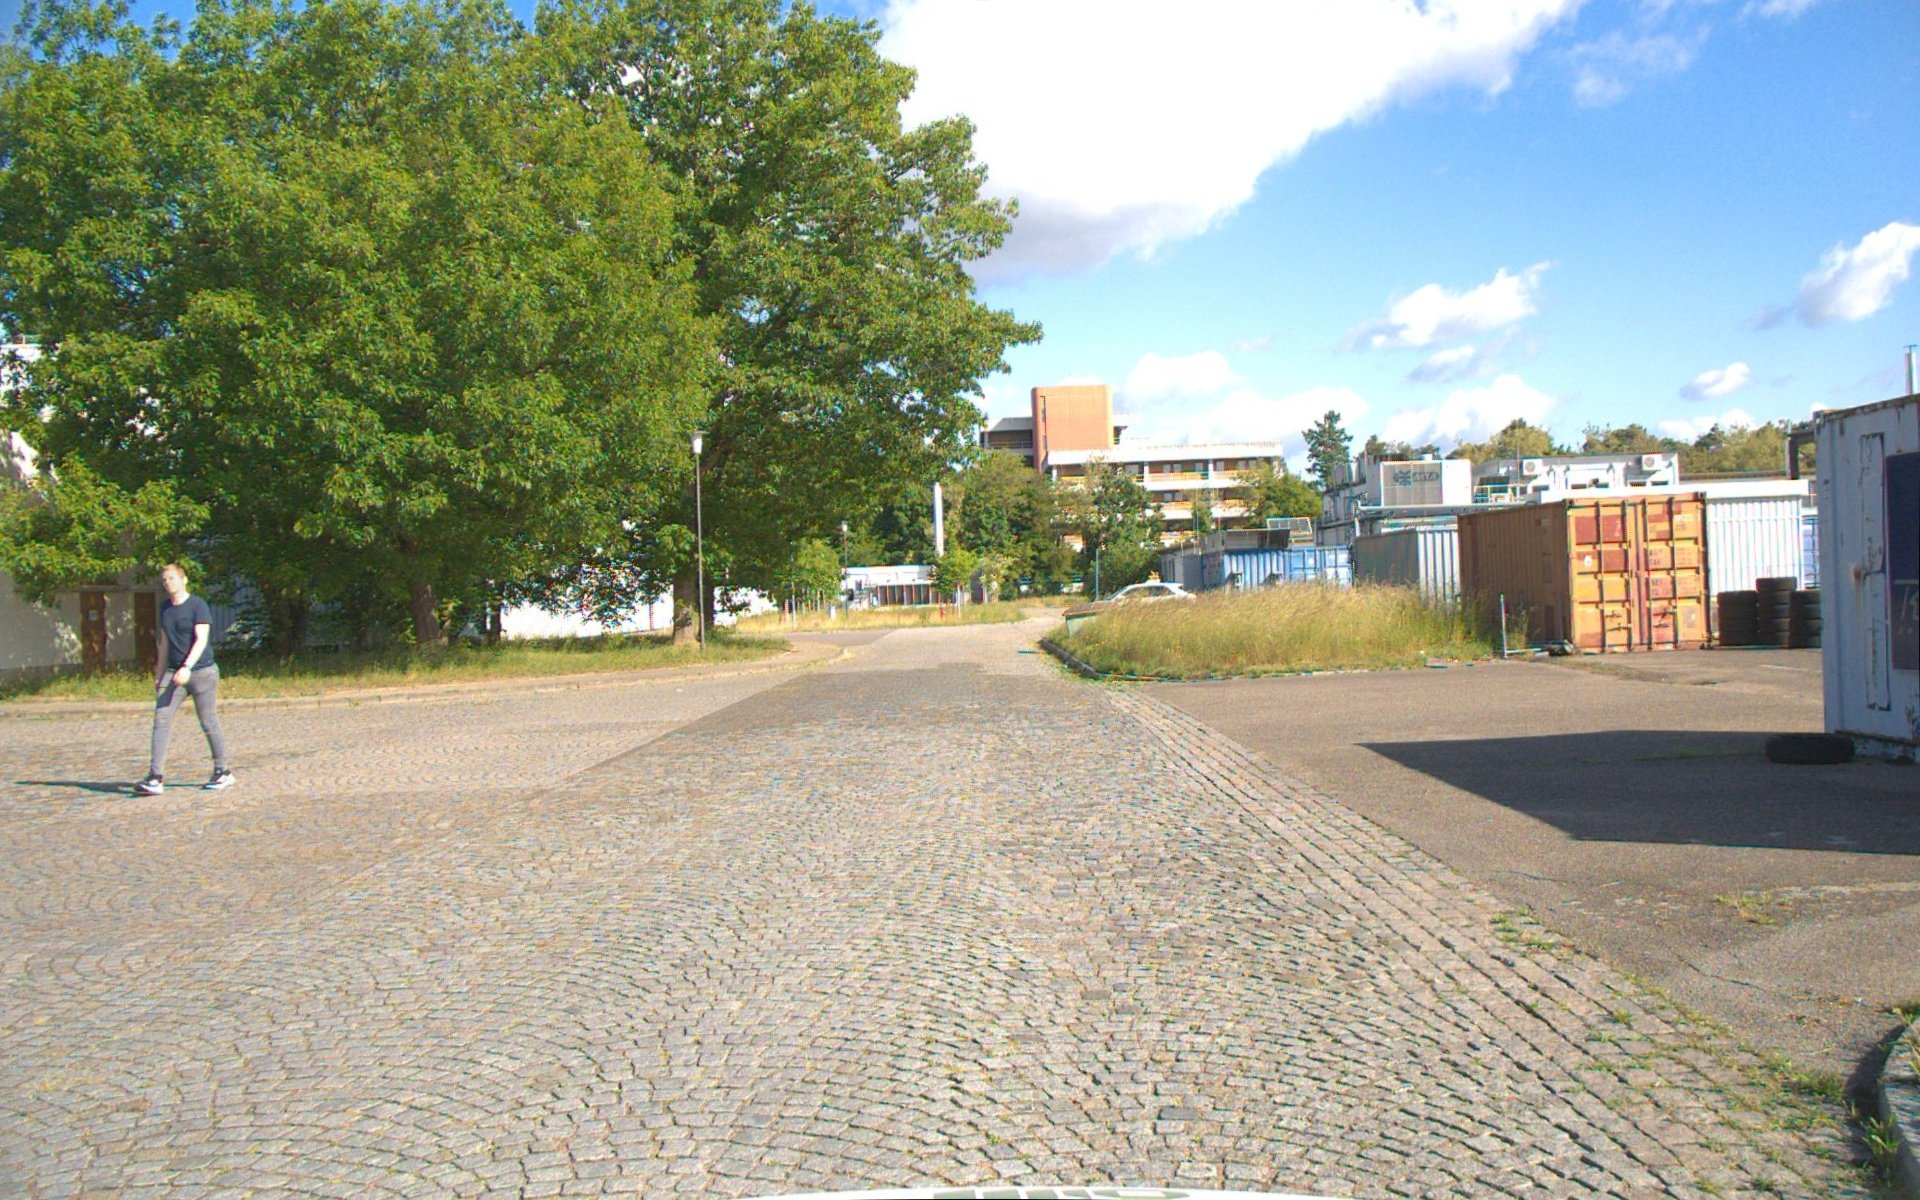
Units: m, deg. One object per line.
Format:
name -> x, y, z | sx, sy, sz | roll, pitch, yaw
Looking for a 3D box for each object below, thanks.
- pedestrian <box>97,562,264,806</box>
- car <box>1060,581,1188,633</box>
pedestrian -> -6.581, 0.678, 14.022 | 0.781, 1.947, 1.142 | -2, 0, 1
car -> 6.015, 0.246, 61.101 | 4.494, 1.707, 1.875 | -2, 0, 0
